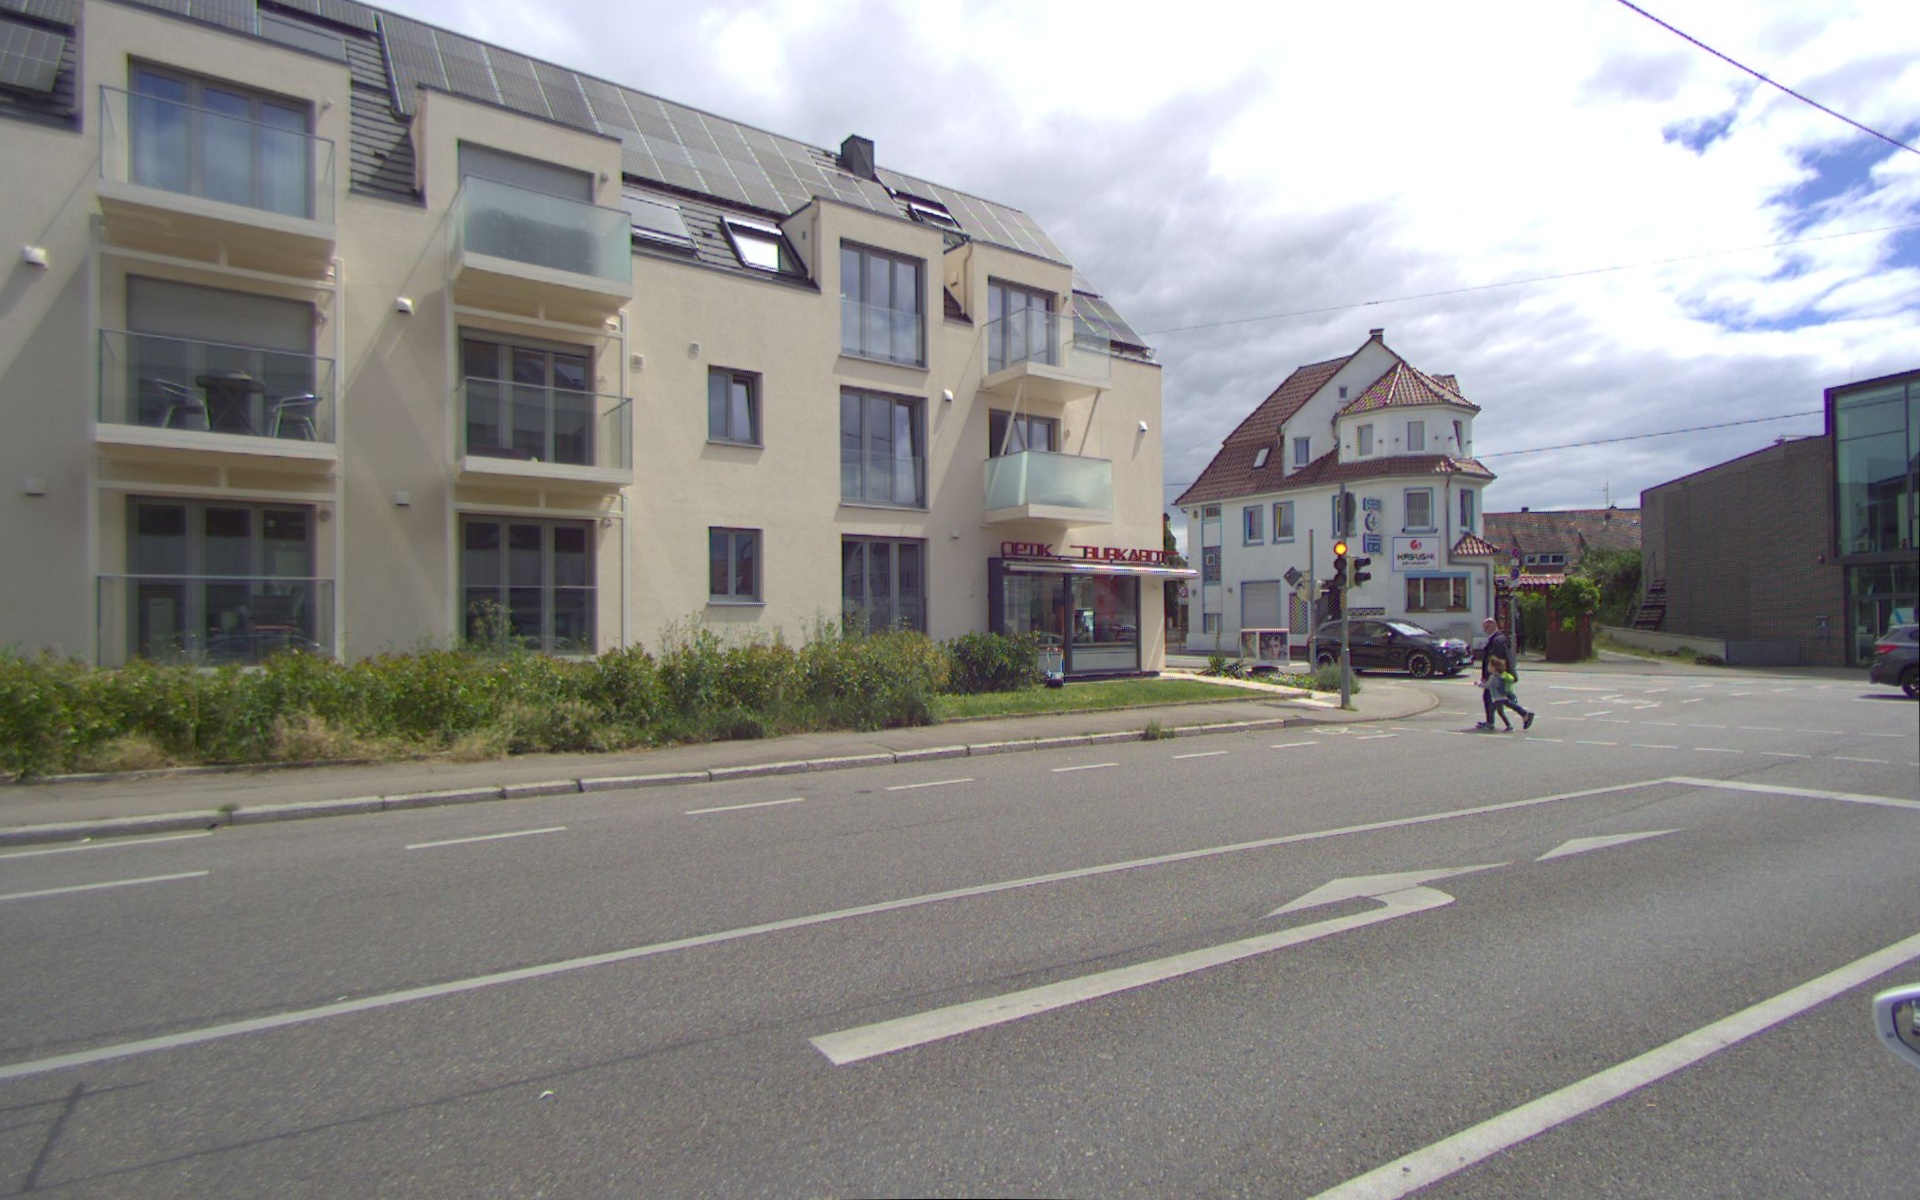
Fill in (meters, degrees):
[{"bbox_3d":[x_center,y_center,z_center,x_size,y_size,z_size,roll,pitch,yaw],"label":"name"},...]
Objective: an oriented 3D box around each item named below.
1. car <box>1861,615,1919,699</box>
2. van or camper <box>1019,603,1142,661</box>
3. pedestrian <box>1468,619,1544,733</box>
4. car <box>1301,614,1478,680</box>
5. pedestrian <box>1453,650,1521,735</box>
[{"bbox_3d":[20.789,1.145,19.840,1.984,1.697,4.256,1,-1,-40],"label":"car"},{"bbox_3d":[4.841,1.266,41.061,1.983,2.105,5.076,1,0,-38],"label":"van or camper"},{"bbox_3d":[8.703,1.186,16.015,0.810,1.744,0.816,1,-1,-37],"label":"pedestrian"},{"bbox_3d":[12.706,1.347,29.978,1.982,1.766,4.466,-1,-1,-38],"label":"car"},{"bbox_3d":[8.145,1.407,15.525,0.640,1.238,0.728,1,-1,-37],"label":"pedestrian"}]
